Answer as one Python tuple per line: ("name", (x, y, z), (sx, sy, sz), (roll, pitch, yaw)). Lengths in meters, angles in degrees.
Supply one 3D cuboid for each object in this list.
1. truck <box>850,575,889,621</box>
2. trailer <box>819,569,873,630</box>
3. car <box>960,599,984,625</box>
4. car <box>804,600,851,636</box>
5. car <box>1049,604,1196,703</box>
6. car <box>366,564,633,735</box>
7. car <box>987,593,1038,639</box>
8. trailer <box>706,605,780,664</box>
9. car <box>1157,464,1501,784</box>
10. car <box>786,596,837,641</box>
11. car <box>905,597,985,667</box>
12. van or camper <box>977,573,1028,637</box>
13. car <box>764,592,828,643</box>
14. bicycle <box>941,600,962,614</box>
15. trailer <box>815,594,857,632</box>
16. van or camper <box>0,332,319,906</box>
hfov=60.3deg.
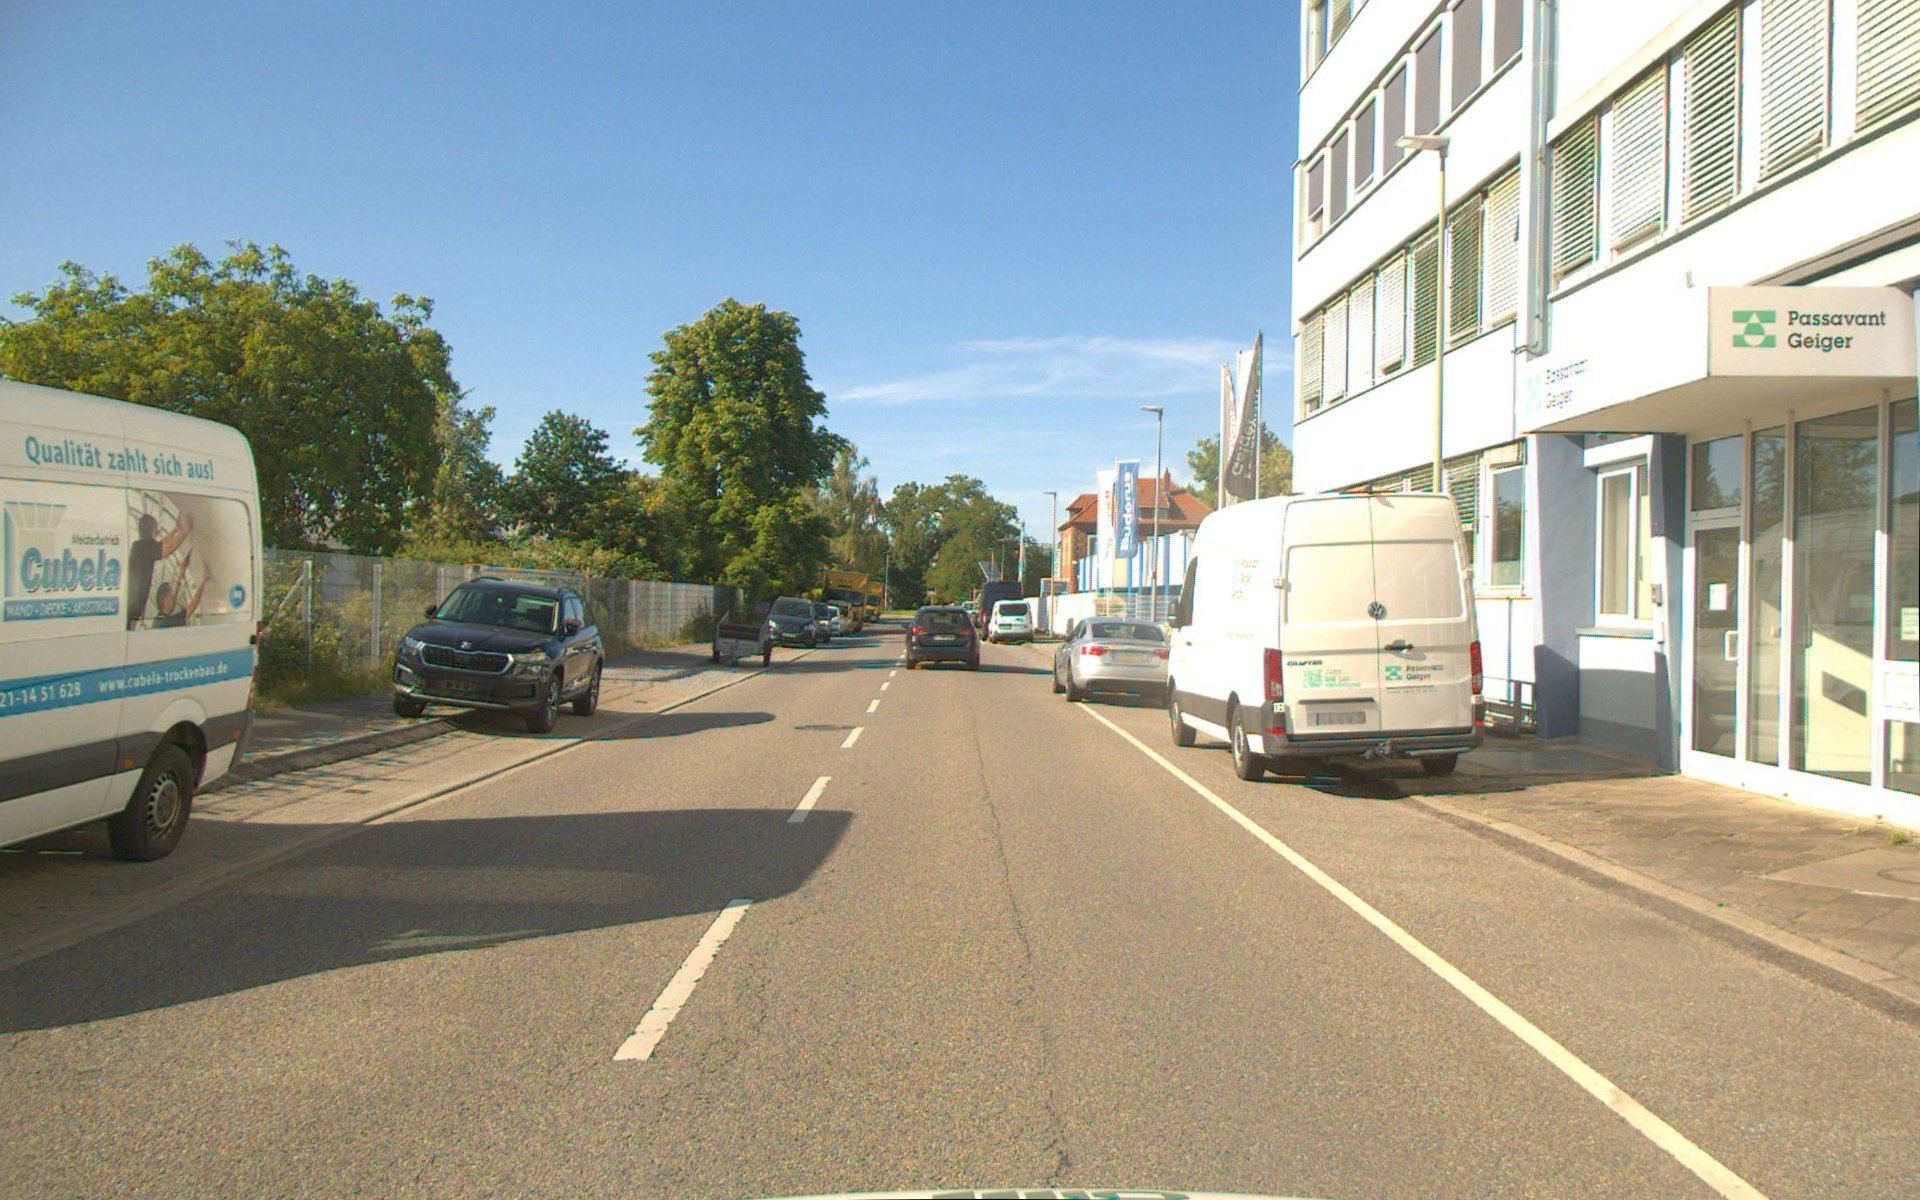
("truck", (-7.904, -0.267, 144.954), (2.580, 3.564, 8.656), (7, 1, -1))
("trailer", (-6.937, 0.002, 101.374), (2.931, 3.503, 8.158), (1, 0, -2))
("car", (0.959, 1.014, 138.995), (1.836, 2.049, 5.159), (3, -1, 0))
("car", (-6.750, 0.907, 84.535), (1.870, 1.620, 5.024), (6, 0, 0))
("car", (2.654, 0.859, 28.160), (1.856, 1.429, 5.122), (3, -1, -1))
("car", (-5.666, 0.551, 21.083), (1.990, 1.723, 5.105), (5, 0, -2))
("car", (2.265, 0.715, 72.506), (1.848, 1.829, 5.102), (3, -1, -2))
("trailer", (-5.511, 0.861, 42.310), (1.447, 1.378, 3.078), (3, 0, -1))
("car", (3.429, 0.148, 16.736), (1.953, 2.643, 6.049), (0, 1, -2))
("car", (-6.355, 0.775, 71.170), (1.871, 1.691, 4.461), (6, 0, -3))
("car", (-0.342, 0.734, 39.772), (1.809, 1.557, 4.000), (1, 0, 0))
("van or camper", (1.981, 0.268, 78.945), (2.097, 2.807, 6.160), (3, -1, -1))
("car", (-5.930, 0.609, 60.336), (1.755, 1.761, 4.802), (1, 0, 1))
("bicycle", (-0.806, 0.666, 159.845), (0.797, 1.290, 2.231), (4, -1, -35))
("trailer", (-6.743, 0.698, 90.463), (1.953, 1.976, 4.414), (1, 0, -1))
("van or camper", (-5.479, 0.018, 8.183), (1.926, 2.731, 5.948), (6, 0, 1))
